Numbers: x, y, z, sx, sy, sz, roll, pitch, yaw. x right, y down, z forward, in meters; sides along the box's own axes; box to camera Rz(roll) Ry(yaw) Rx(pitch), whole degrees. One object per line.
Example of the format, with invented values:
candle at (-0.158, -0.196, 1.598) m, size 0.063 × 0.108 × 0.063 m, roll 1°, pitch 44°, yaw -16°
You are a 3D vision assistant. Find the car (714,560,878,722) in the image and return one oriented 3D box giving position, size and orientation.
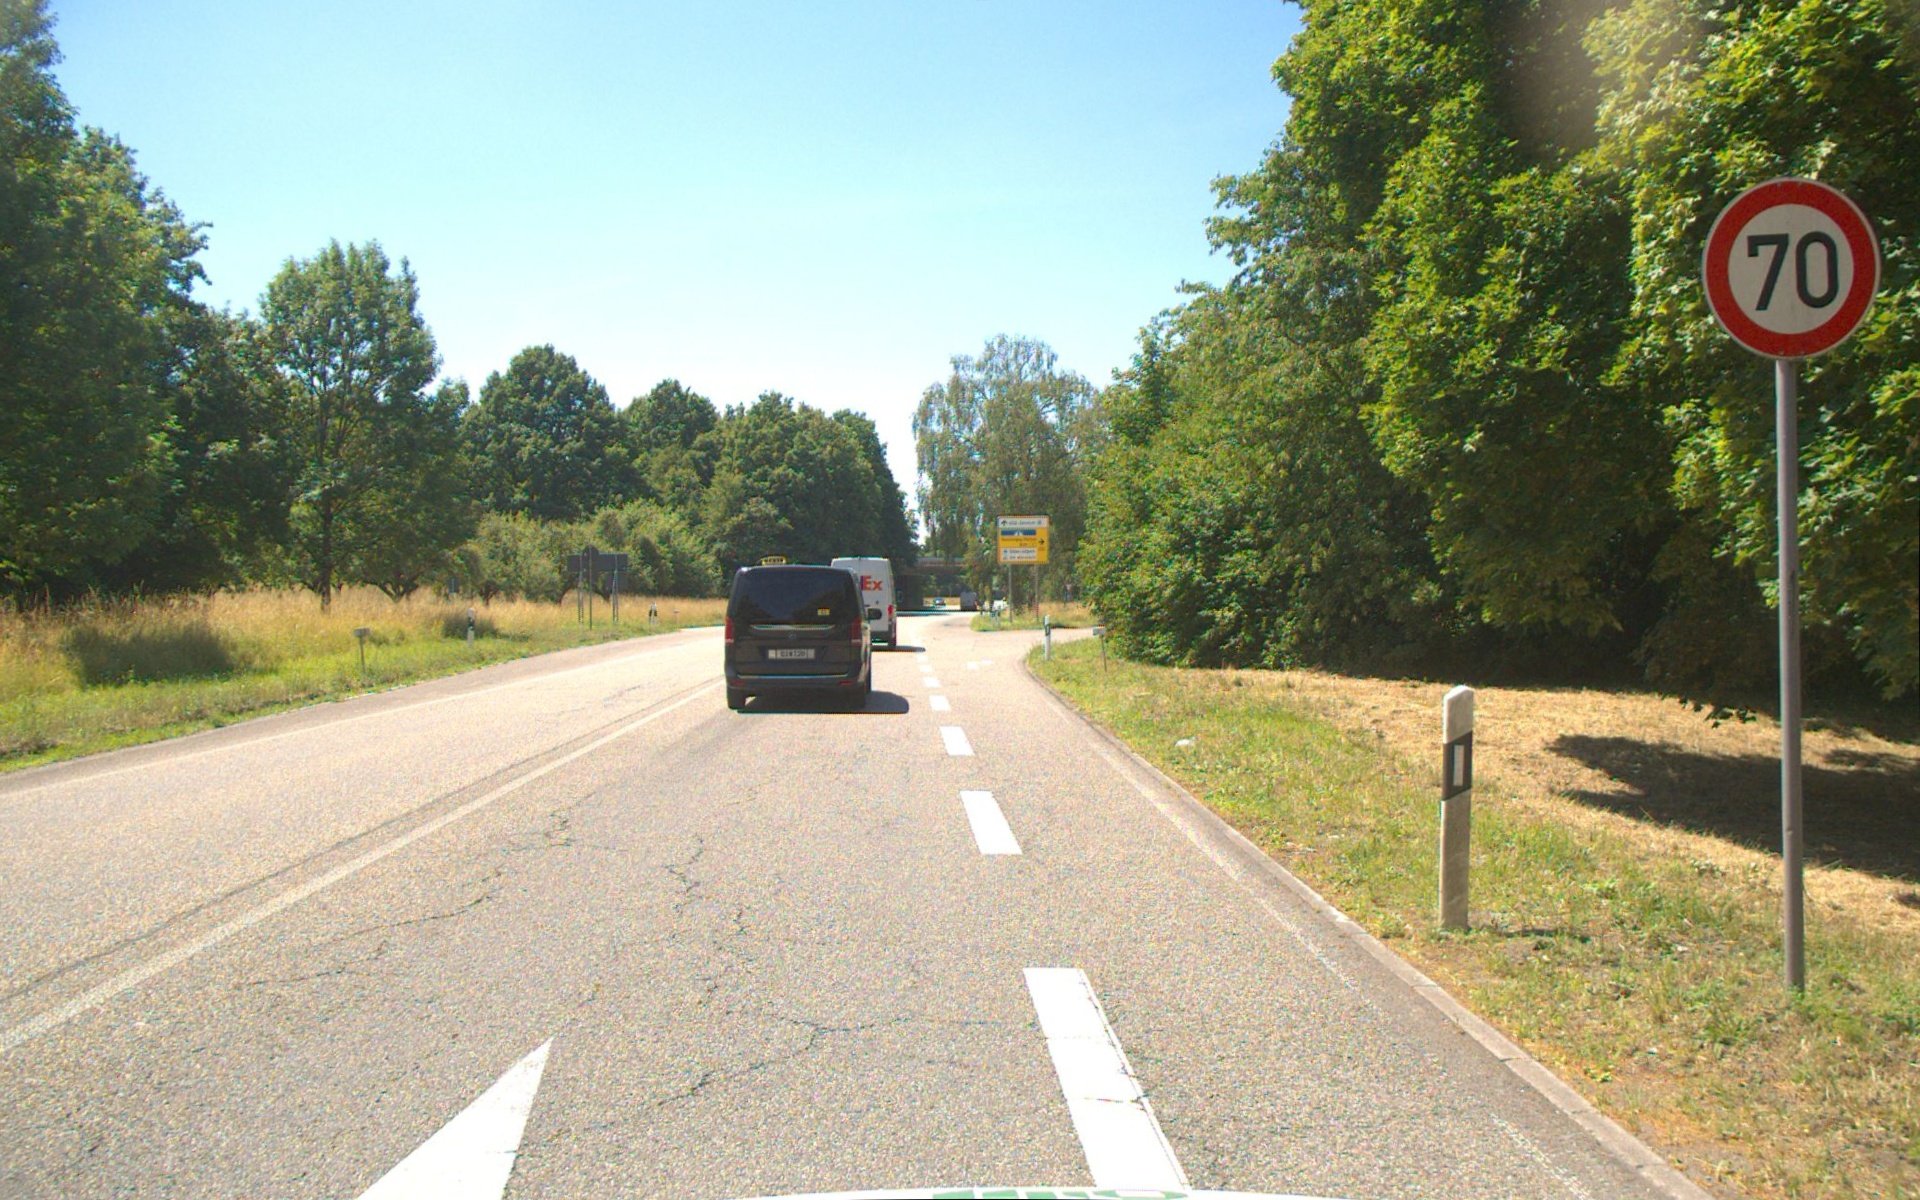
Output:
car at (-2.176, 0.516, 23.239) m, size 1.953 × 1.987 × 5.002 m, roll 1°, pitch 0°, yaw -2°

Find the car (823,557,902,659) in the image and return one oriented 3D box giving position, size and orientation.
car at (-2.791, 0.226, 48.131) m, size 2.036 × 2.750 × 4.665 m, roll 1°, pitch 0°, yaw -1°

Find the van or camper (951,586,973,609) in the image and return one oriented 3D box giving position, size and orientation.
van or camper at (0.283, -0.337, 218.965) m, size 2.579 × 2.980 × 5.203 m, roll 1°, pitch 0°, yaw -3°
